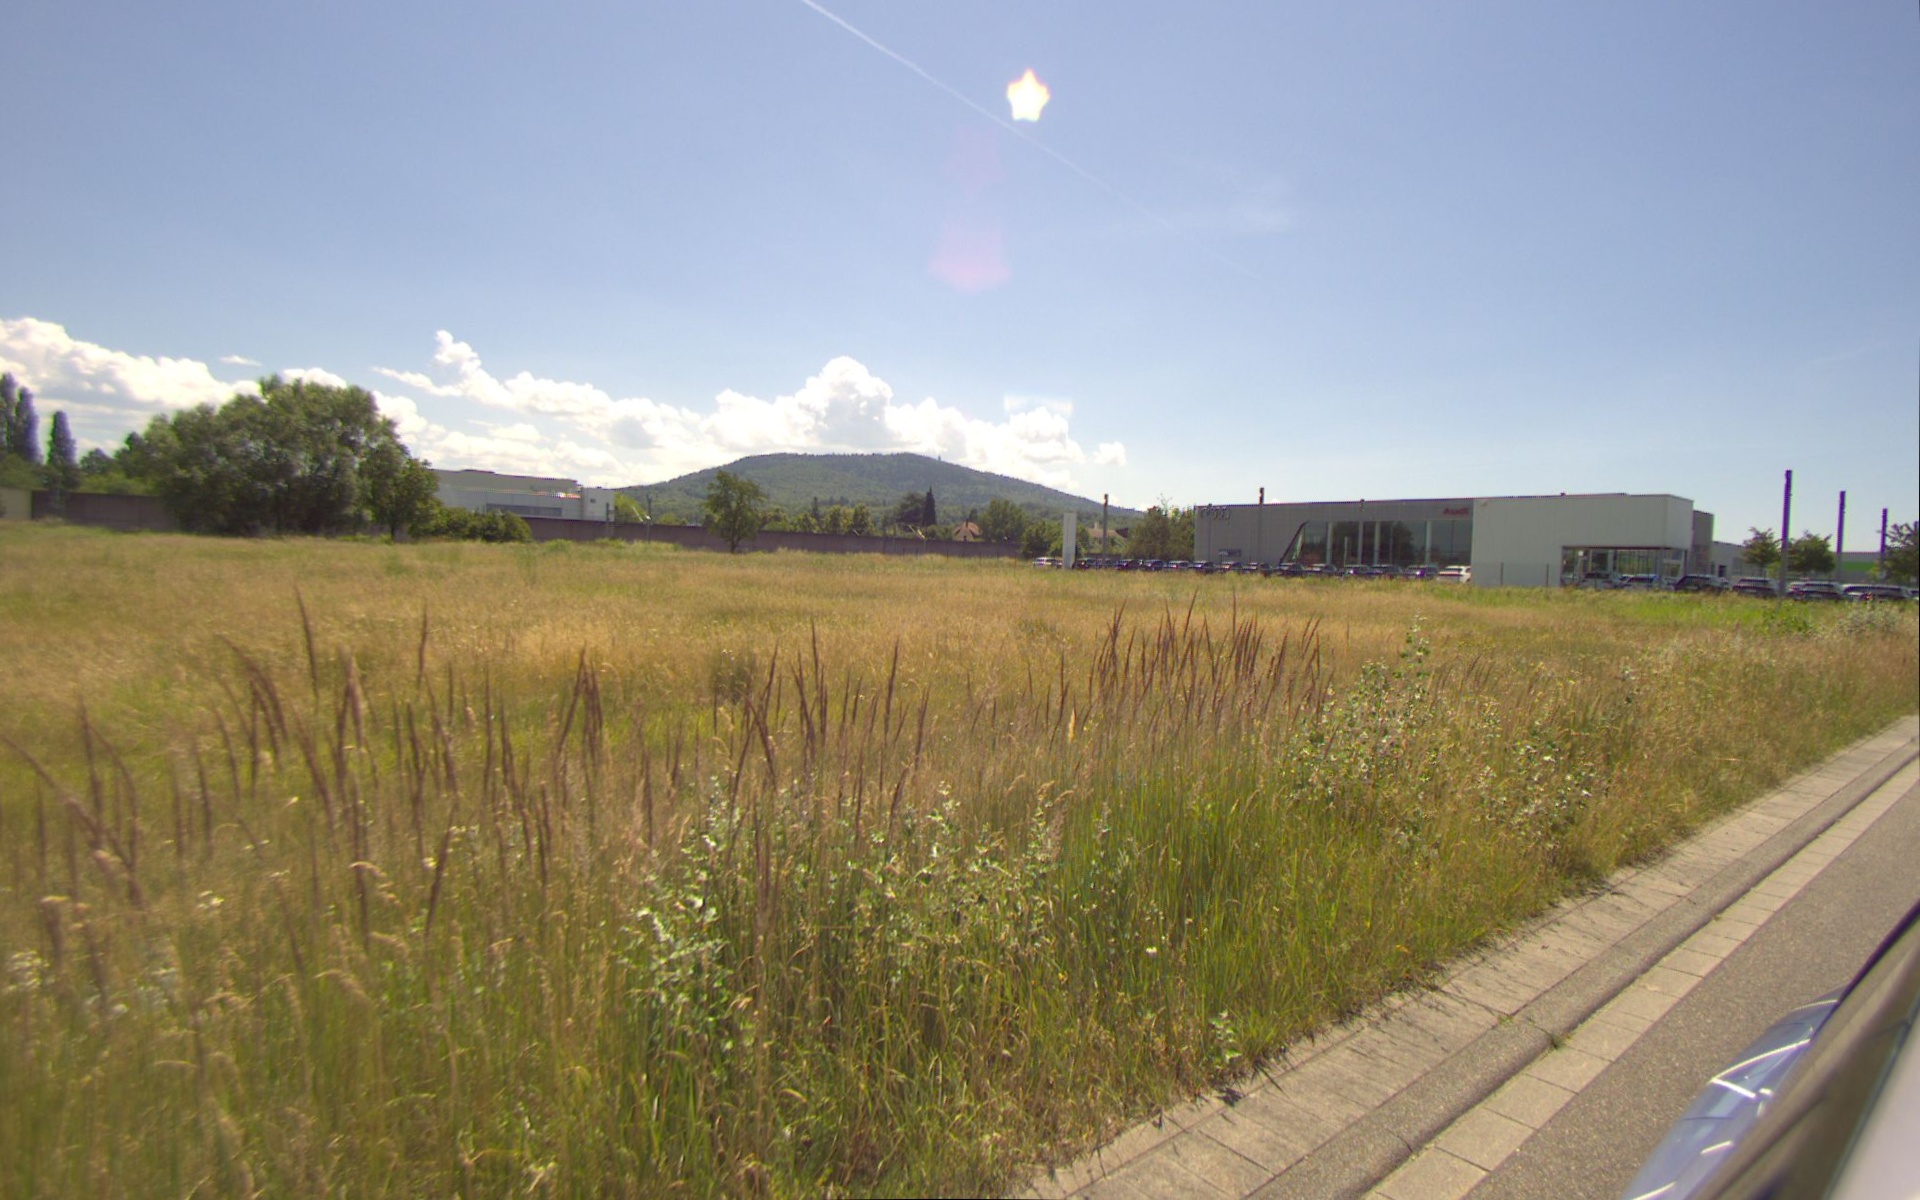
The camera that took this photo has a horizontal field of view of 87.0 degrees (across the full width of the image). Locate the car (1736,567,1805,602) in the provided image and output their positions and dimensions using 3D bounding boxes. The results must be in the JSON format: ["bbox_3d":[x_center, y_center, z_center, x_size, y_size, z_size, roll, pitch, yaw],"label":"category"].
[{"bbox_3d":[45.754,-0.860,57.097,4.722,1.746,2.031,0,4,-39],"label":"car"}]

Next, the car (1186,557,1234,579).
[{"bbox_3d":[21.355,-2.736,86.447,3.930,1.807,1.998,0,3,-41],"label":"car"}]

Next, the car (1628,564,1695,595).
[{"bbox_3d":[42.534,-1.232,61.335,4.722,1.674,2.031,0,4,-39],"label":"car"}]

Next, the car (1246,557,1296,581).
[{"bbox_3d":[25.092,-2.505,81.567,3.930,1.807,1.998,0,3,-41],"label":"car"}]

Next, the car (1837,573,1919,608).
[{"bbox_3d":[51.827,-0.491,56.053,1.995,1.713,4.541,0,4,-39],"label":"car"}]

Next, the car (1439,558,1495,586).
[{"bbox_3d":[34.887,-1.896,69.622,3.930,1.807,1.998,0,3,-41],"label":"car"}]

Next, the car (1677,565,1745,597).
[{"bbox_3d":[43.876,-1.087,59.075,4.722,1.700,2.031,0,4,-39],"label":"car"}]

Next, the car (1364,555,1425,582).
[{"bbox_3d":[31.737,-2.287,73.876,4.722,1.746,2.031,0,4,-39],"label":"car"}]

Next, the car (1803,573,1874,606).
[{"bbox_3d":[47.683,-0.568,54.893,4.722,1.630,2.031,0,4,-39],"label":"car"}]

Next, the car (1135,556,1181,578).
[{"bbox_3d":[17.737,-2.959,90.679,3.930,1.807,1.998,0,3,-41],"label":"car"}]

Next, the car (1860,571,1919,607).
[{"bbox_3d":[49.255,-0.549,53.204,5.016,1.713,2.031,0,4,-39],"label":"car"}]

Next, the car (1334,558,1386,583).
[{"bbox_3d":[29.945,-2.201,75.720,3.930,1.807,1.998,0,3,-41],"label":"car"}]

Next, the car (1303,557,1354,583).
[{"bbox_3d":[28.345,-2.300,77.768,3.930,1.807,1.998,0,3,-41],"label":"car"}]

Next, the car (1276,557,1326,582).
[{"bbox_3d":[26.832,-2.393,79.641,3.930,1.807,1.998,0,3,-41],"label":"car"}]

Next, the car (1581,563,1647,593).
[{"bbox_3d":[40.950,-1.382,63.369,4.722,1.674,2.031,0,4,-39],"label":"car"}]

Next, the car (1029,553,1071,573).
[{"bbox_3d":[8.977,-3.701,101.212,3.930,1.807,1.998,0,3,-41],"label":"car"}]

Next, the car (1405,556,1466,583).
[{"bbox_3d":[33.771,-2.166,71.844,4.722,1.746,2.031,0,4,-39],"label":"car"}]

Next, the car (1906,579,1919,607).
[{"bbox_3d":[57.960,-0.355,60.085,4.694,1.592,2.030,0,4,-40],"label":"car"}]
